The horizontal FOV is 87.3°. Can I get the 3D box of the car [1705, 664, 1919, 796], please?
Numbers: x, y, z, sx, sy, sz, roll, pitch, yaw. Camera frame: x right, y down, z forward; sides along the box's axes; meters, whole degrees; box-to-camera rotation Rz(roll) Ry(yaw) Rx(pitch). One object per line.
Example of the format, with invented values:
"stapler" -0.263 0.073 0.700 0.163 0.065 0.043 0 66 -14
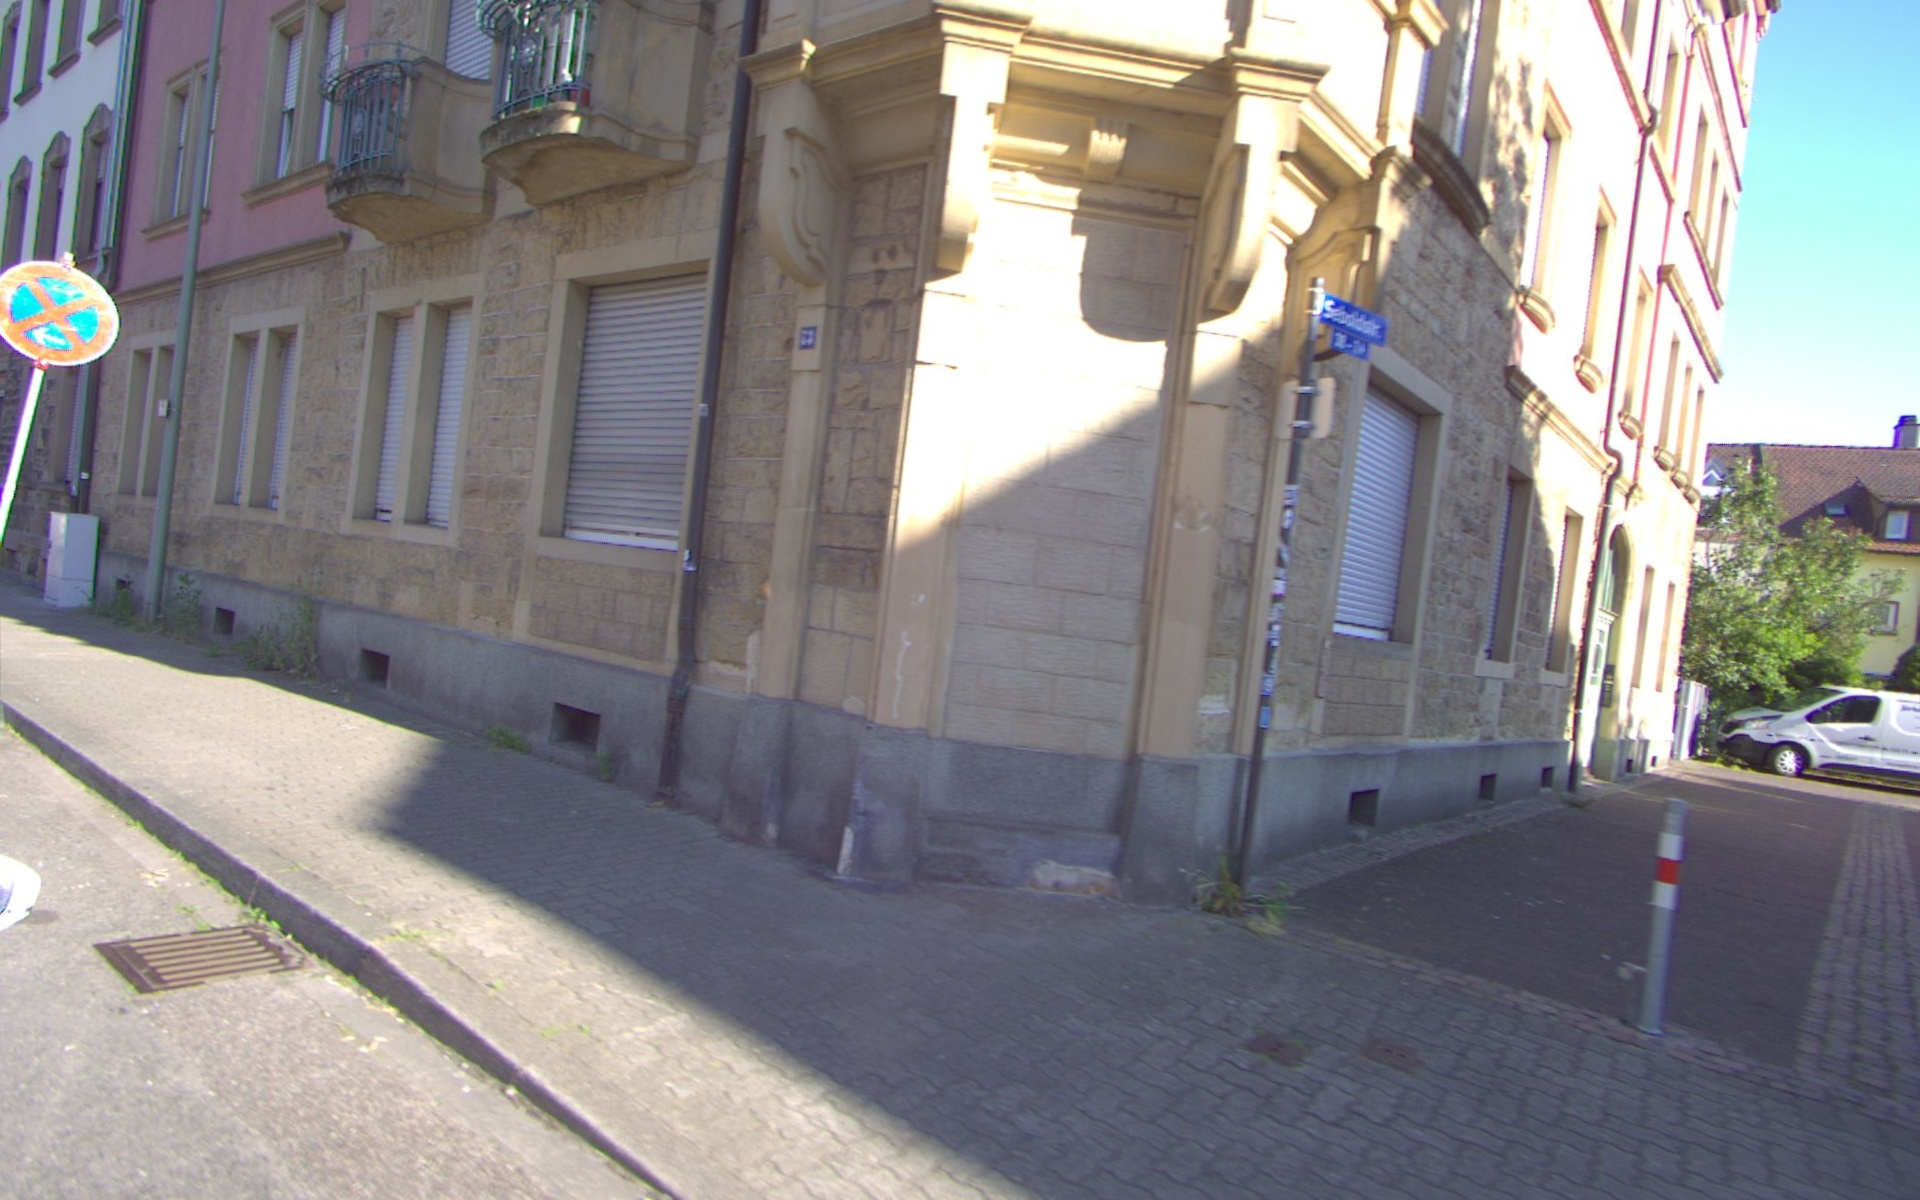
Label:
"car" 18.479 2.755 20.418 4.880 2.048 2.003 8 -4 24
